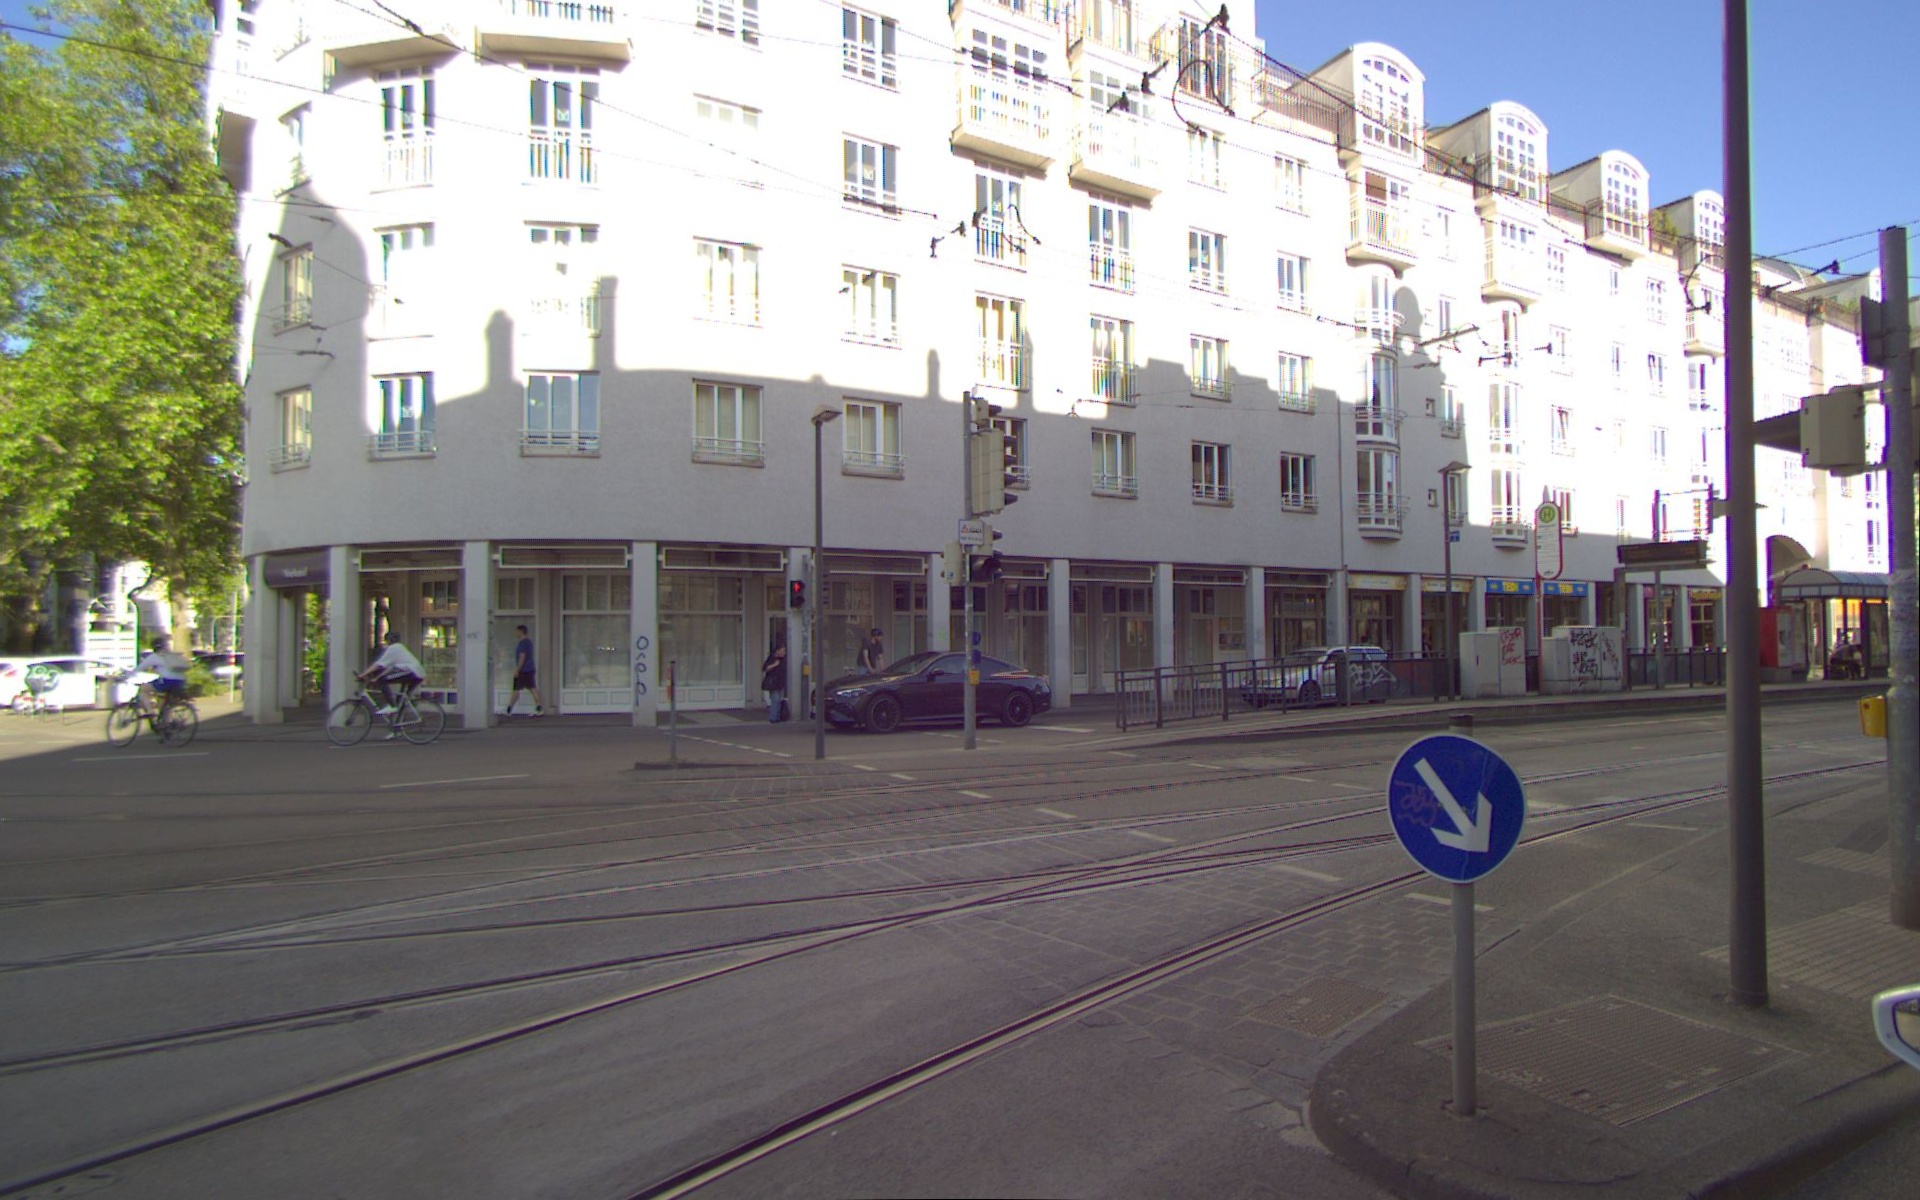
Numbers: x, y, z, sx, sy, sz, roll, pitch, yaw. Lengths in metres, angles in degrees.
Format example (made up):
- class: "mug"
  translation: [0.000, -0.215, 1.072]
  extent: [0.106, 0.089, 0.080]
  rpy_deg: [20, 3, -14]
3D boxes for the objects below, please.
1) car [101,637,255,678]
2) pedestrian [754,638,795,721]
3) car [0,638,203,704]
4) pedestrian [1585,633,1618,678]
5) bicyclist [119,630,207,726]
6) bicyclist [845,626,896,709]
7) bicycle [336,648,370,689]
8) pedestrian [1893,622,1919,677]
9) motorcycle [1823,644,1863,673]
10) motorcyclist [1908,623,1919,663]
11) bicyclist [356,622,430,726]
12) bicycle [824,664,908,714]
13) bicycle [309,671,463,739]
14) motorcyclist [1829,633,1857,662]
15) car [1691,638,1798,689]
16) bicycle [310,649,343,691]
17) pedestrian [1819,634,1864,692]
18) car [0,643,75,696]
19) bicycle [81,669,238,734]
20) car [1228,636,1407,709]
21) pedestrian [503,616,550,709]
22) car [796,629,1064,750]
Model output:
- class: "car"
  translation: [-29.383, 2.141, 37.932]
  extent: [4.353, 1.353, 1.984]
  rpy_deg: [0, -1, -31]
- class: "pedestrian"
  translation: [-3.634, 1.549, 19.703]
  extent: [0.434, 1.554, 0.683]
  rpy_deg: [-2, 0, 24]
- class: "car"
  translation: [-23.273, 1.864, 27.334]
  extent: [4.073, 1.422, 1.781]
  rpy_deg: [-2, 0, -44]
- class: "pedestrian"
  translation: [23.765, 2.035, 37.200]
  extent: [0.591, 1.643, 0.837]
  rpy_deg: [-1, -1, -34]
- class: "bicyclist"
  translation: [-12.780, 1.235, 16.119]
  extent: [0.910, 1.507, 0.590]
  rpy_deg: [0, -2, -3]
- class: "bicyclist"
  translation: [-1.891, 1.421, 21.315]
  extent: [1.009, 1.718, 0.724]
  rpy_deg: [-1, -1, -2]
- class: "bicycle"
  translation: [-20.454, 2.288, 33.811]
  extent: [0.593, 1.250, 2.863]
  rpy_deg: [-2, 0, -38]
- class: "pedestrian"
  translation: [27.770, 1.429, 29.226]
  extent: [0.734, 1.580, 0.728]
  rpy_deg: [-1, 0, -31]
- class: "motorcycle"
  translation: [34.012, 2.242, 38.690]
  extent: [1.822, 1.088, 0.556]
  rpy_deg: [1, 0, -29]
- class: "motorcyclist"
  translation: [37.256, 1.661, 38.959]
  extent: [0.713, 1.522, 0.485]
  rpy_deg: [1, 0, -29]
- class: "bicyclist"
  translation: [-8.995, 1.157, 15.963]
  extent: [0.881, 1.606, 0.588]
  rpy_deg: [0, -2, -16]
- class: "bicycle"
  translation: [-1.986, 1.878, 21.330]
  extent: [1.727, 0.993, 0.678]
  rpy_deg: [-1, -1, -2]
- class: "bicycle"
  translation: [-9.014, 1.644, 15.856]
  extent: [2.014, 0.985, 0.594]
  rpy_deg: [0, -2, -16]
- class: "motorcyclist"
  translation: [34.005, 1.807, 38.684]
  extent: [0.817, 1.088, 0.556]
  rpy_deg: [1, 0, -29]
- class: "car"
  translation: [27.431, 2.172, 35.114]
  extent: [3.601, 1.529, 1.684]
  rpy_deg: [-1, 0, -29]
- class: "bicycle"
  translation: [-21.017, 2.301, 33.294]
  extent: [0.593, 1.250, 2.863]
  rpy_deg: [-2, 0, -38]
- class: "pedestrian"
  translation: [24.135, 1.710, 27.512]
  extent: [0.734, 1.548, 0.728]
  rpy_deg: [-1, 0, -31]
- class: "car"
  translation: [-29.302, 2.136, 31.062]
  extent: [1.779, 1.421, 3.983]
  rpy_deg: [-2, 0, -25]
- class: "bicycle"
  translation: [-12.823, 1.621, 16.119]
  extent: [1.973, 0.985, 0.596]
  rpy_deg: [0, -2, -3]
- class: "car"
  translation: [8.715, 1.695, 24.379]
  extent: [4.353, 1.535, 1.720]
  rpy_deg: [0, -1, -31]
- class: "pedestrian"
  translation: [-8.956, 1.280, 20.752]
  extent: [0.732, 1.857, 0.461]
  rpy_deg: [-2, 0, -6]
- class: "car"
  translation: [-0.534, 1.554, 18.838]
  extent: [4.555, 1.936, 2.216]
  rpy_deg: [0, -1, -31]
